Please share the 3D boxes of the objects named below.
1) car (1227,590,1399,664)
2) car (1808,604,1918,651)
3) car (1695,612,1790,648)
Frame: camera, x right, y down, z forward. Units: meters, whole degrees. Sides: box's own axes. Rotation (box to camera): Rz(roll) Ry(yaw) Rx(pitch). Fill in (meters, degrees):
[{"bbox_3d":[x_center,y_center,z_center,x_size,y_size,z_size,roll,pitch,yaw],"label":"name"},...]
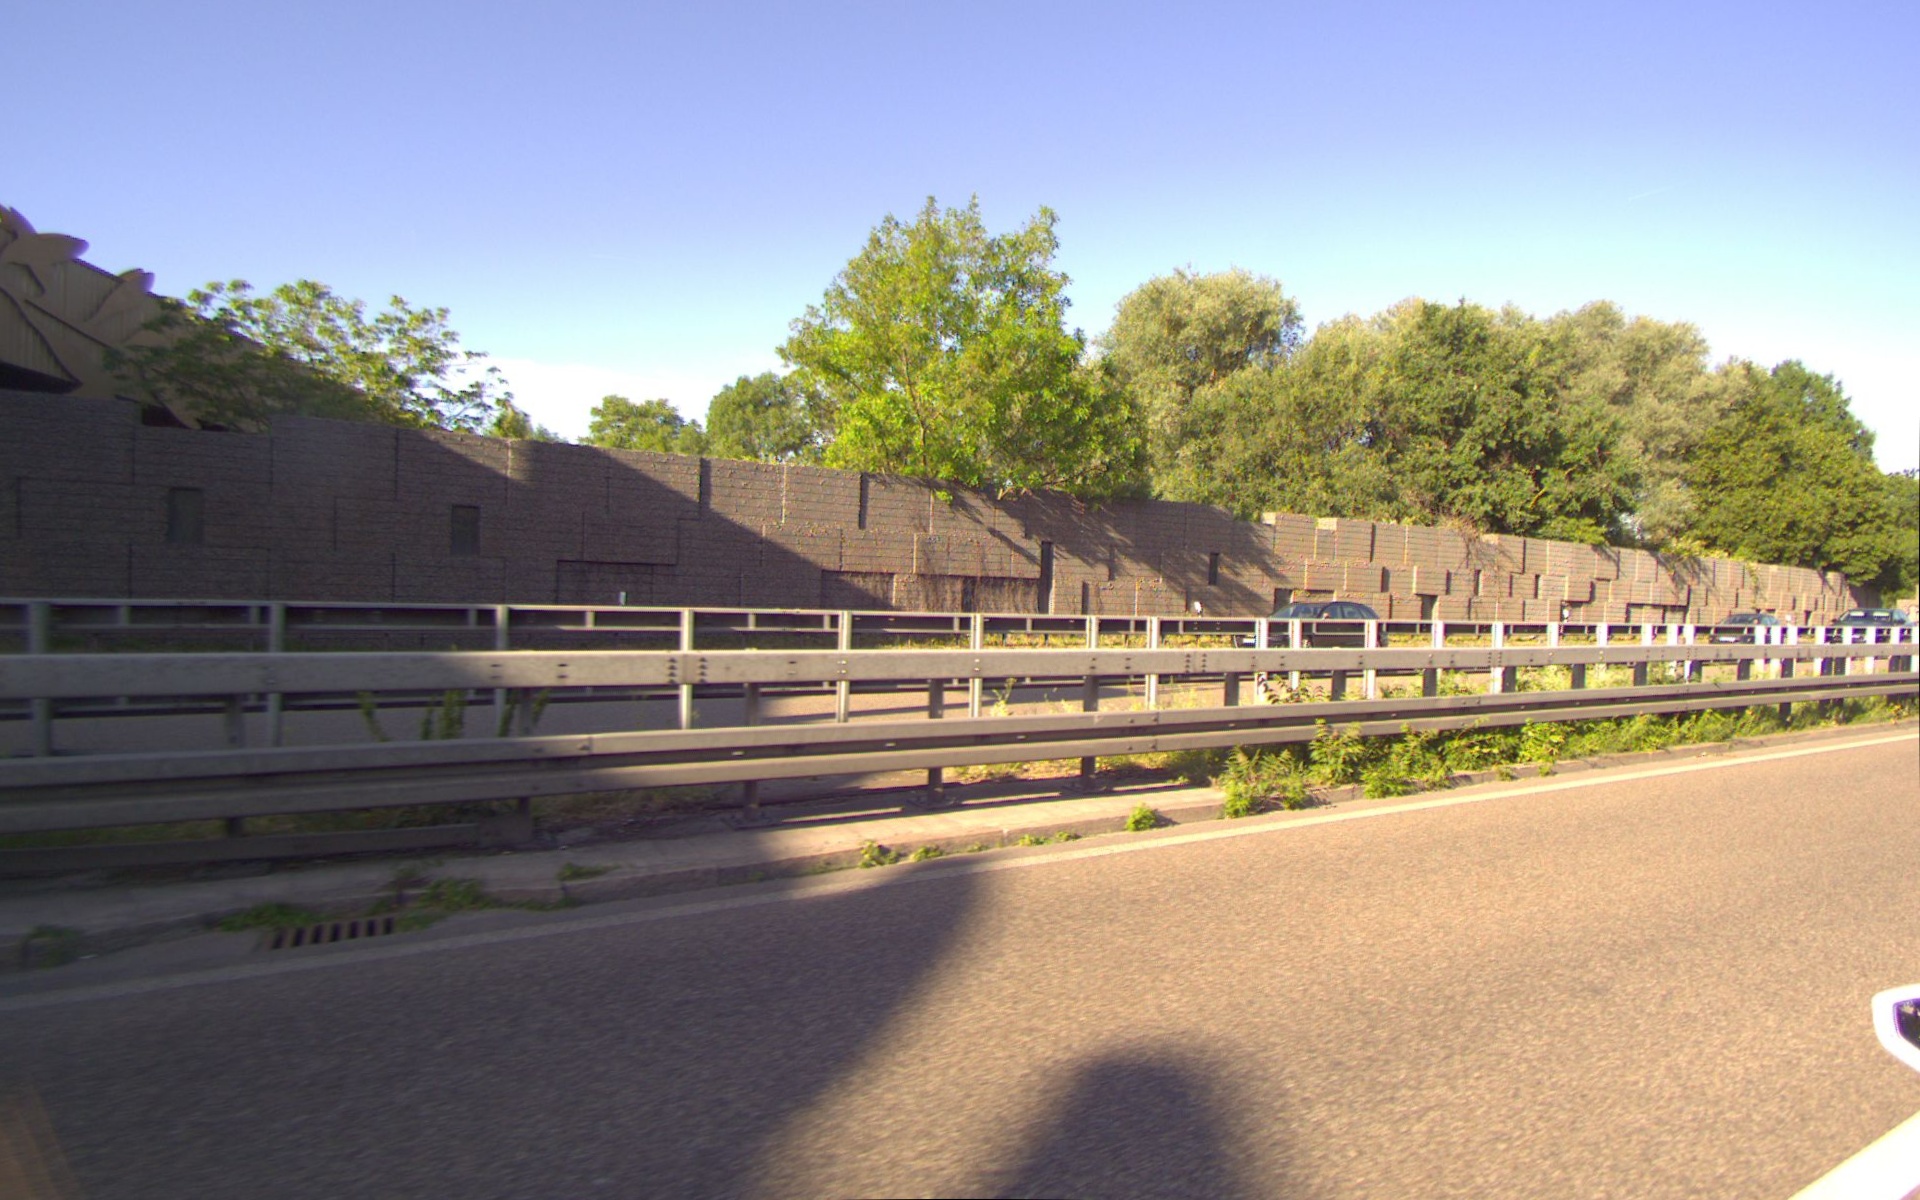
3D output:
[{"bbox_3d":[8.605,0.615,24.359,4.347,1.595,1.537,0,3,-32],"label":"car"},{"bbox_3d":[35.029,1.027,38.948,4.754,1.595,1.887,0,3,-32],"label":"car"},{"bbox_3d":[33.094,1.250,42.469,4.089,1.441,1.887,0,0,-32],"label":"car"}]
